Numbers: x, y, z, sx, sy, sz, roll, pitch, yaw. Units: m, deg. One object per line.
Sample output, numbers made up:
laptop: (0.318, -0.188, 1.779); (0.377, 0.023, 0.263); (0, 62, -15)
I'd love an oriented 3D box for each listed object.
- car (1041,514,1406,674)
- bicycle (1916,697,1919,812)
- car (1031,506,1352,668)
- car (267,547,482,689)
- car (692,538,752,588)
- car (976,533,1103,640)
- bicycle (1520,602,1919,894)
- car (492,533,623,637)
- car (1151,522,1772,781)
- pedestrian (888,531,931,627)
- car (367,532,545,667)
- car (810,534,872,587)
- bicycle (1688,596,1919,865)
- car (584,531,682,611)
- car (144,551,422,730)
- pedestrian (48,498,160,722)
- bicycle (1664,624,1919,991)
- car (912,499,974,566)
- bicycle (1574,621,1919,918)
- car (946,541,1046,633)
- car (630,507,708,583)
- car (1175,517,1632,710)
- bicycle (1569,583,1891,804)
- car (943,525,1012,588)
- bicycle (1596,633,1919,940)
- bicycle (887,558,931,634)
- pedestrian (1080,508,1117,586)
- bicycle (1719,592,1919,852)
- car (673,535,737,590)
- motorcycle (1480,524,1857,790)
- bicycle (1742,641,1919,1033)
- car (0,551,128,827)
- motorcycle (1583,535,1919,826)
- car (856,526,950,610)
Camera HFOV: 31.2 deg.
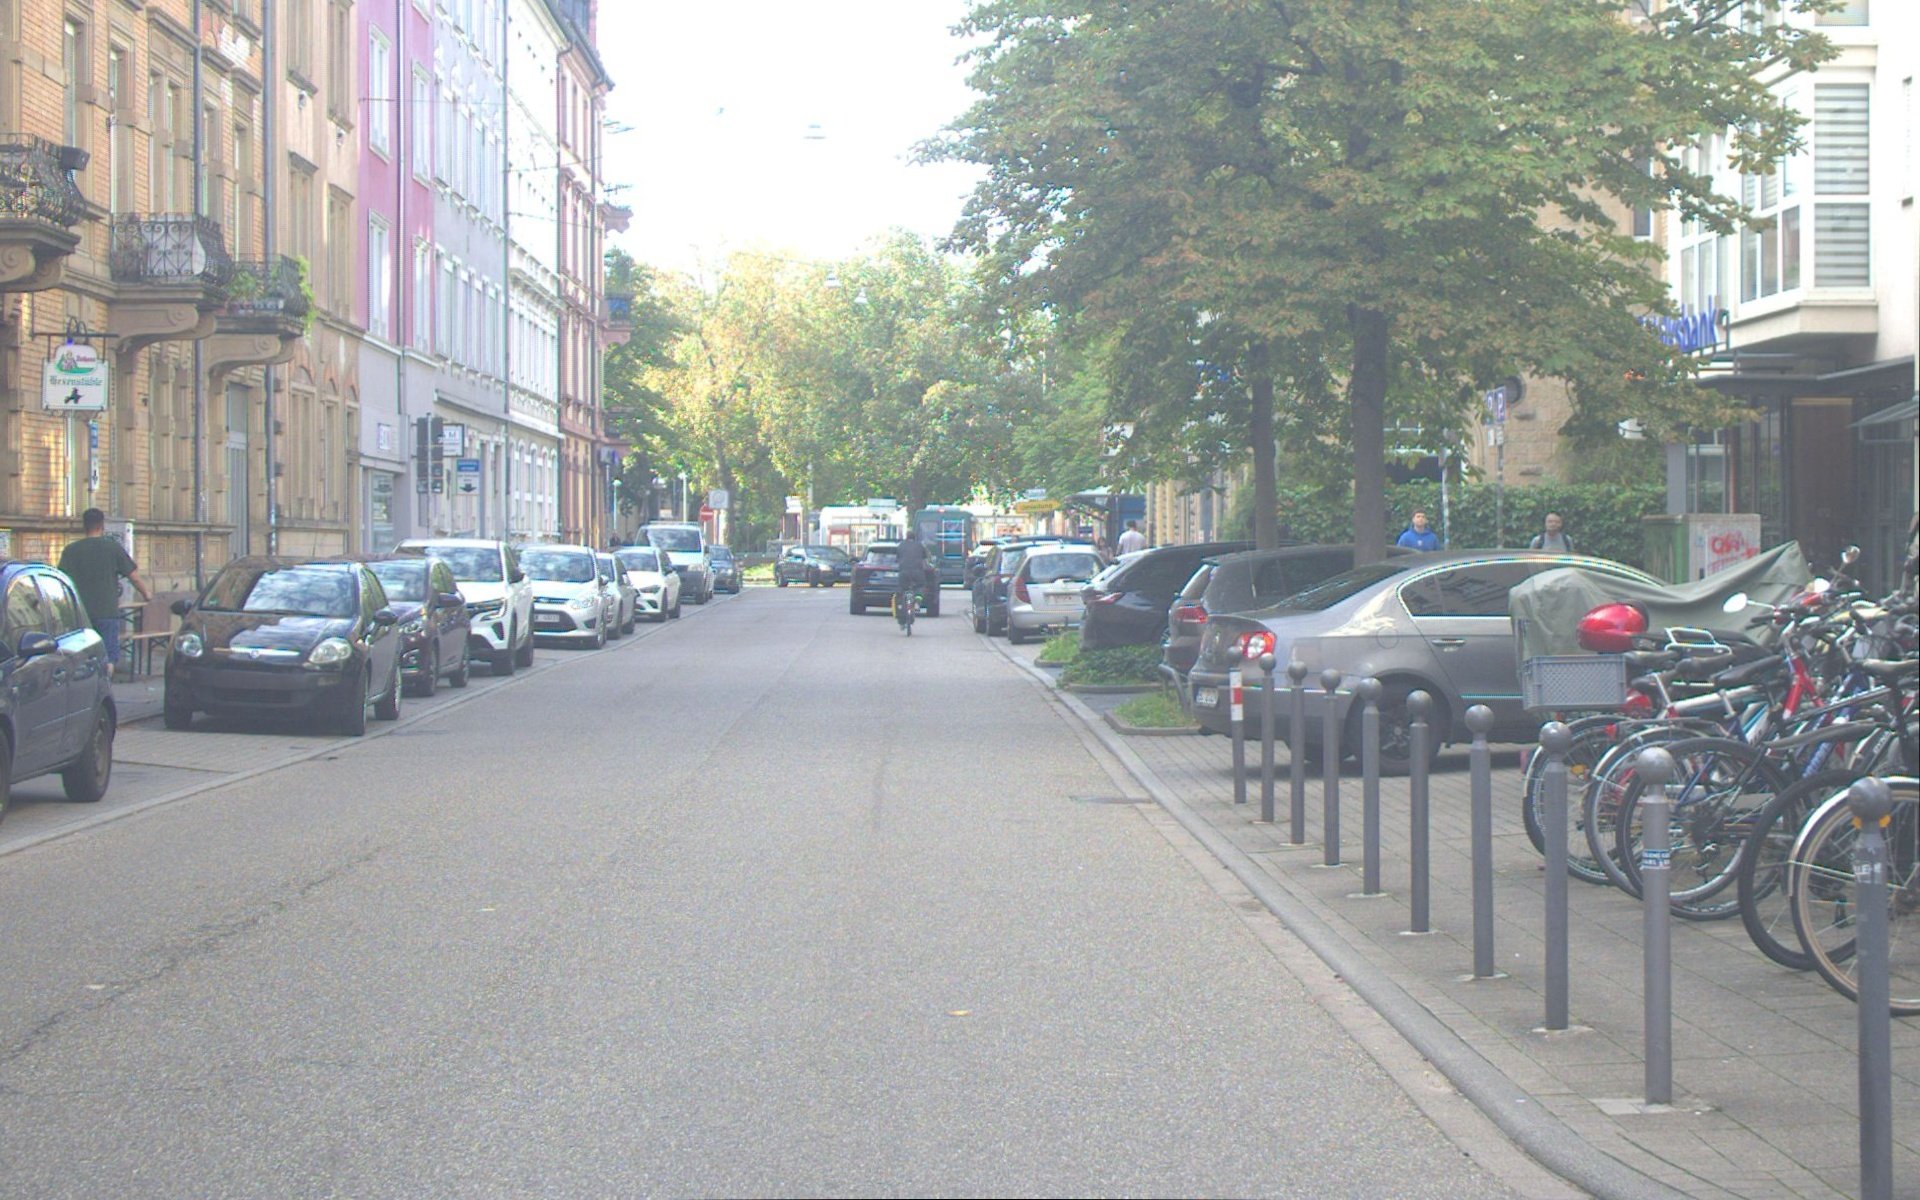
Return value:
car: (2.993, -0.086, 39.169); (3.987, 1.634, 2.000); (-2, 1, 4)
bicycle: (3.523, 0.757, 9.254); (1.765, 1.053, 0.411); (-3, 2, -6)
car: (2.974, -0.176, 44.331); (3.987, 1.678, 1.737); (-2, 9, 3)
car: (-6.235, 0.155, 36.952); (1.690, 1.365, 3.867); (3, 1, -2)
car: (-7.622, -1.204, 110.511); (1.587, 1.533, 3.753); (1, 1, 1)
car: (1.269, -0.255, 56.523); (1.930, 1.632, 4.000); (1, 1, -1)
bicycle: (3.371, 0.628, 14.829); (1.794, 1.155, 0.500); (-2, 2, 2)
car: (-6.301, -0.256, 54.094); (1.690, 1.545, 3.867); (1, 1, -2)
car: (3.362, 0.325, 23.360); (3.759, 1.541, 1.731); (-2, 0, -11)
pedestrian: (-0.877, -0.368, 59.922); (0.718, 1.644, 0.930); (1, 1, 0)
car: (-6.100, -0.034, 41.969); (1.690, 1.545, 3.867); (1, 1, -2)
car: (-3.851, -1.299, 111.588); (1.855, 1.615, 4.000); (1, 1, 0)
bicycle: (4.200, 0.569, 15.242); (1.796, 1.155, 0.499); (-2, 2, 25)
car: (-6.573, -0.604, 69.356); (1.690, 1.545, 3.867); (1, 1, -2)
car: (-5.809, 0.305, 29.916); (1.690, 1.365, 3.867); (3, 1, -2)
pedestrian: (-7.228, 0.071, 29.052); (0.689, 1.847, 0.931); (1, 1, 1)
bicycle: (3.307, 0.666, 11.786); (1.765, 1.142, 0.411); (-3, 2, -21)
car: (-0.549, -2.104, 106.403); (1.782, 2.013, 3.888); (1, 1, -2)
bicycle: (3.418, 0.672, 13.896); (1.765, 1.115, 0.411); (-2, 2, 2)
car: (0.612, -0.255, 60.992); (1.690, 1.545, 3.688); (1, 1, 0)
car: (-7.202, -1.364, 85.360); (1.690, 1.815, 3.867); (1, 1, -2)
car: (4.017, 0.104, 31.650); (3.987, 1.578, 2.000); (-2, 1, 4)
bicycle: (4.348, 0.523, 19.477); (1.664, 1.155, 0.557); (-2, 2, 1)
car: (0.416, -1.119, 87.107); (1.587, 1.533, 3.753); (1, 1, -2)
bicycle: (3.371, 0.696, 13.151); (1.765, 1.095, 0.411); (-2, 2, 2)
bicycle: (-0.879, -0.077, 59.643); (0.718, 1.270, 1.884); (1, 1, 0)
pedestrian: (4.003, -1.526, 99.144); (0.995, 2.222, 0.898); (1, 1, 0)
bicycle: (4.522, 0.550, 16.217); (1.732, 1.155, 0.500); (-2, 2, 1)
car: (-7.460, -1.117, 100.807); (1.690, 1.545, 3.867); (1, 1, -2)
motorcycle: (4.342, 0.341, 21.172); (2.150, 1.525, 0.686); (-2, 2, 4)
bicycle: (3.230, 0.697, 10.629); (1.495, 1.142, 0.411); (-3, 2, -6)
car: (-5.911, 0.445, 19.144); (1.690, 1.432, 3.867); (1, 1, -2)
motorcycle: (4.440, 0.405, 18.131); (2.150, 1.430, 0.765); (-2, 2, 4)
car: (-1.255, -0.700, 74.735); (1.965, 1.735, 4.041); (1, 1, -1)
